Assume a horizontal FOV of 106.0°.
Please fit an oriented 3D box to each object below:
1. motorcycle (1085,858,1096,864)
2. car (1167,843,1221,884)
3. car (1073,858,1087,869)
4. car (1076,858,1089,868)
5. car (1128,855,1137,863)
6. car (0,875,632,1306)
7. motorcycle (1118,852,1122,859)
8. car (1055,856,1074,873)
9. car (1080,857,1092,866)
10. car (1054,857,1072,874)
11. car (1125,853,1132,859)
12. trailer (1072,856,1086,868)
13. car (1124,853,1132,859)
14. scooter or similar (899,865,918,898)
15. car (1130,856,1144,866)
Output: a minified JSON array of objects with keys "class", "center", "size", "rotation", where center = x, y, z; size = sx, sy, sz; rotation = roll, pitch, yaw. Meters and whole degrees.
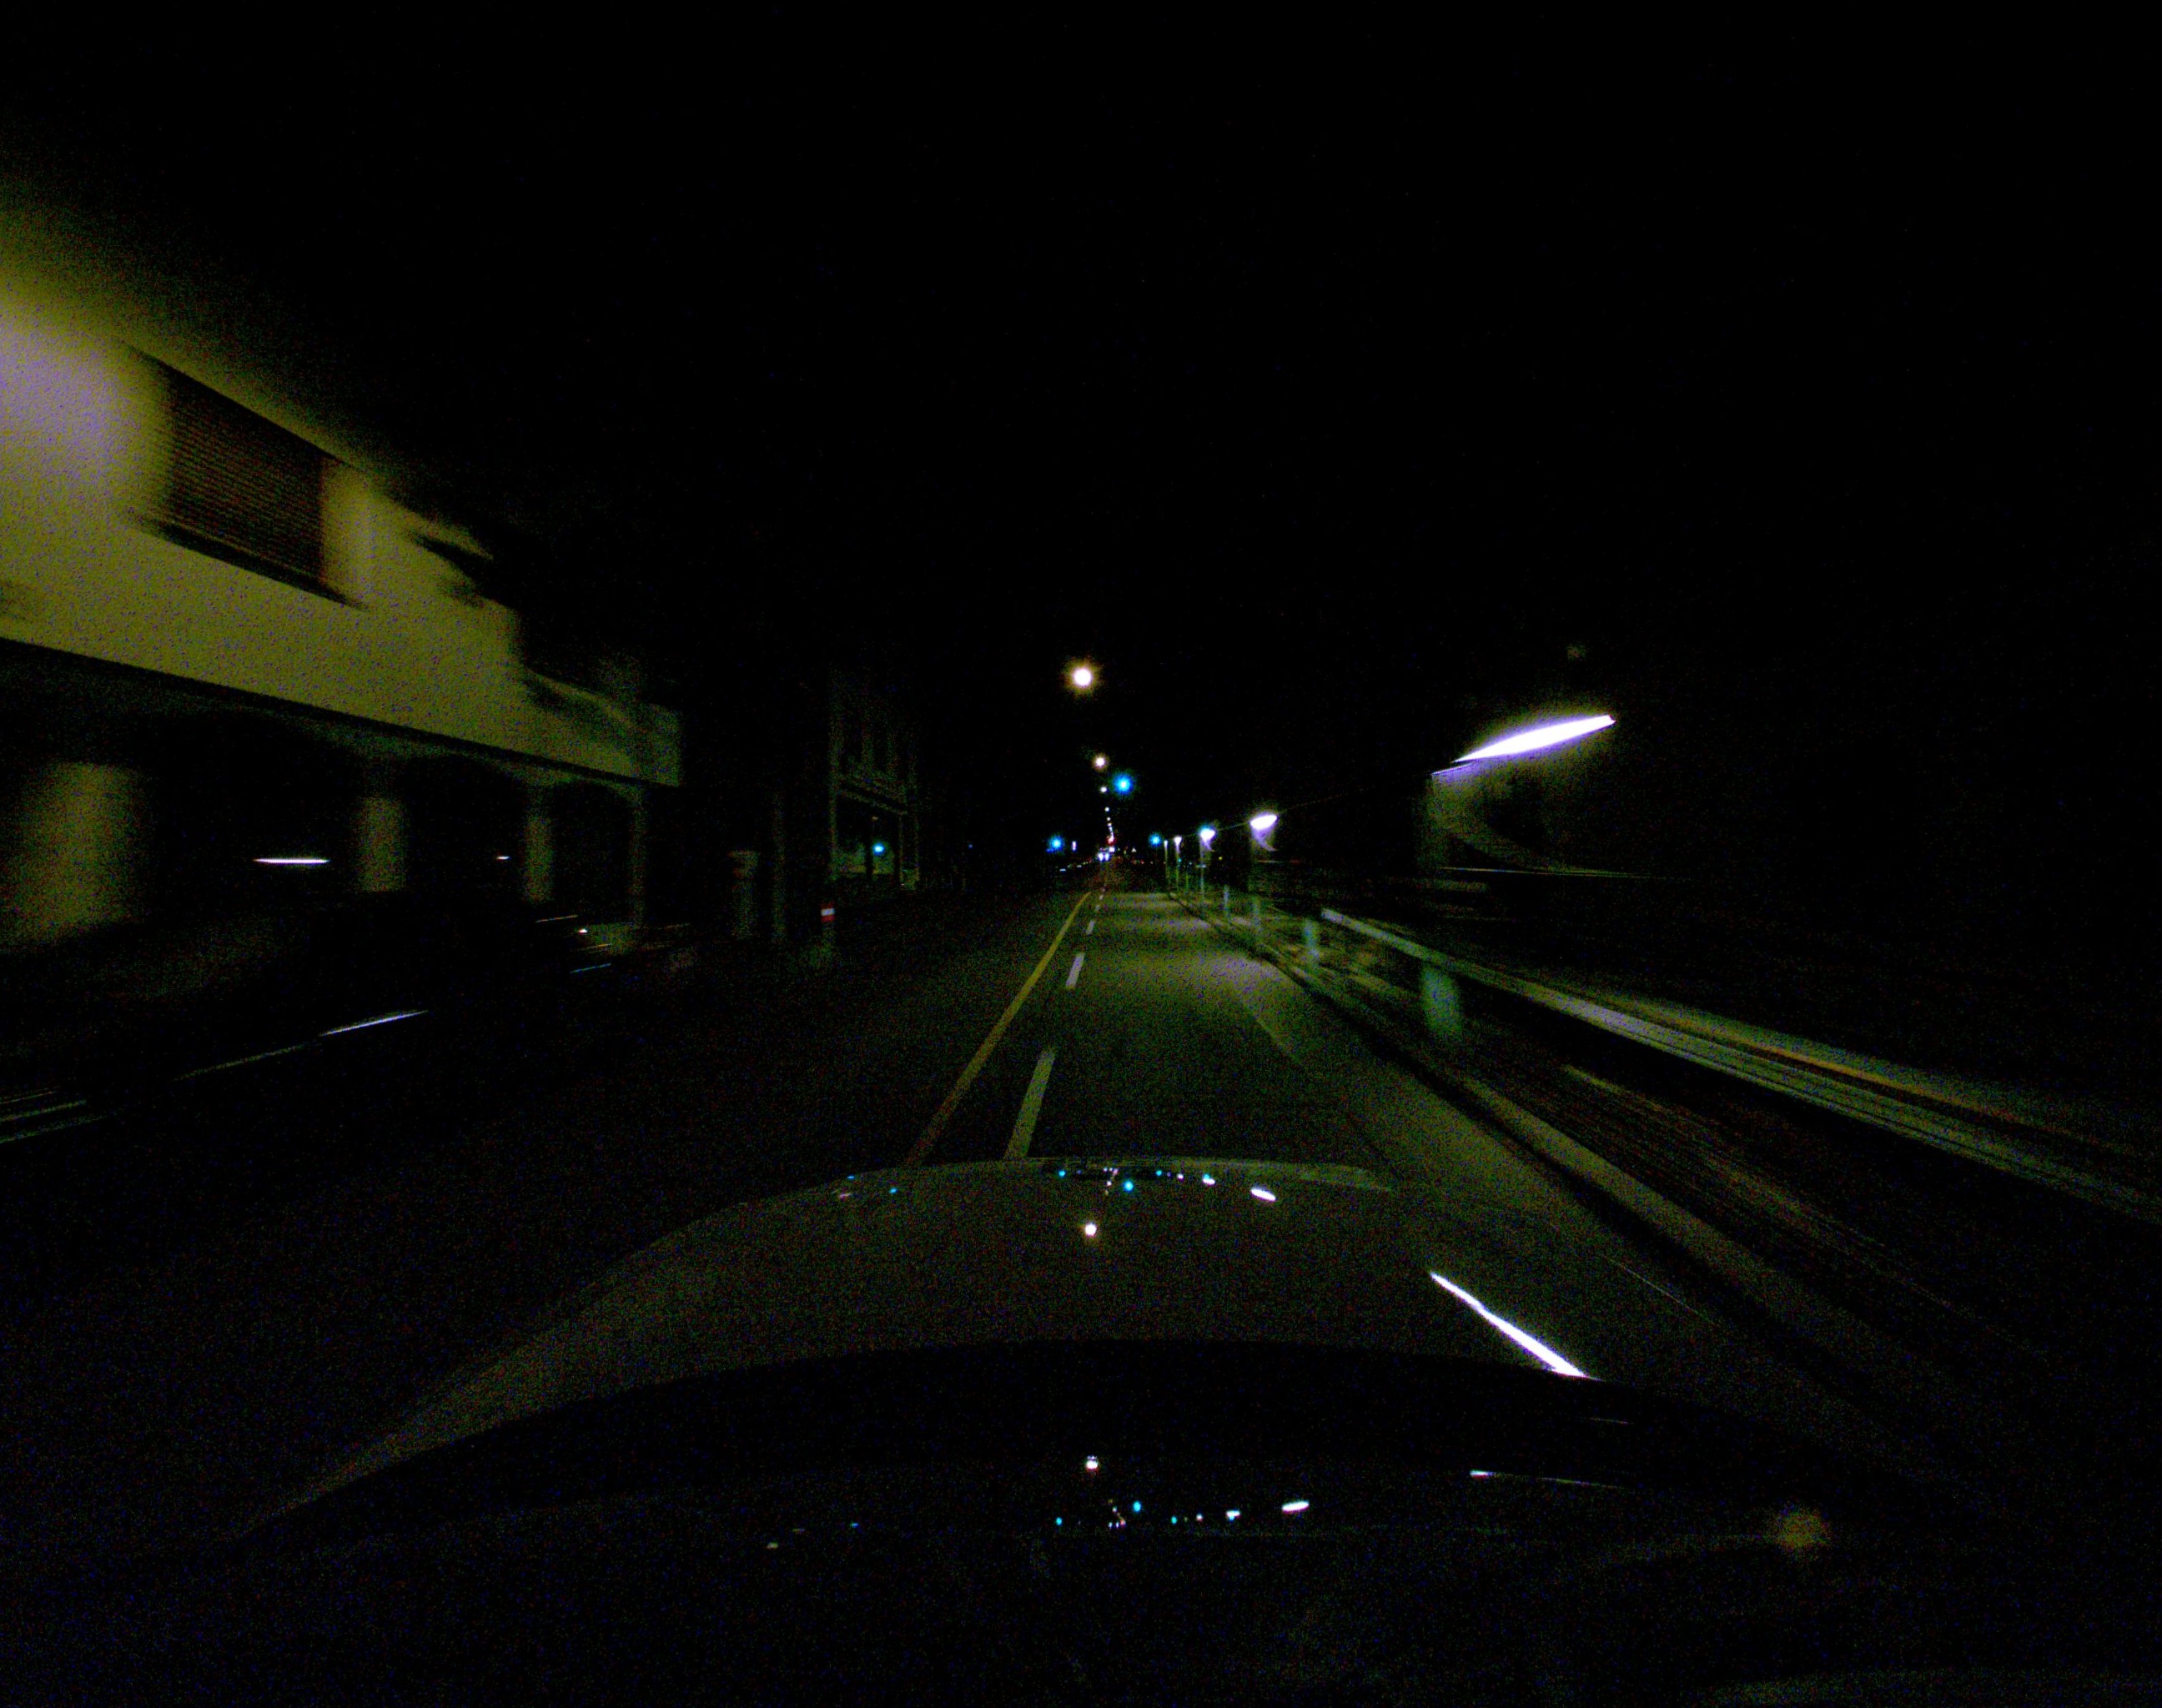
[{"class":"motorcycle","center":[1.783,1.380,154.906],"size":[0.719,1.147,2.183],"rotation":[-2,0,-40]},{"class":"car","center":[5.425,0.449,39.567],"size":[1.905,1.827,4.899],"rotation":[-2,0,0]},{"class":"car","center":[-0.091,1.283,114.060],"size":[1.808,1.484,4.348],"rotation":[-1,0,1]},{"class":"car","center":[0.274,1.342,124.631],"size":[1.828,1.446,4.546],"rotation":[-2,0,1]},{"class":"car","center":[10.524,0.948,165.653],"size":[1.756,1.476,4.083],"rotation":[-3,0,3]},{"class":"car","center":[-4.765,0.924,4.832],"size":[1.720,1.486,4.292],"rotation":[-1,0,1]},{"class":"motorcycle","center":[10.213,0.384,213.178],"size":[0.927,1.752,2.626],"rotation":[-1,-1,3]},{"class":"car","center":[-1.658,1.020,82.355],"size":[1.843,1.650,4.669],"rotation":[-1,0,-1]},{"class":"car","center":[0.894,1.310,138.341],"size":[1.857,1.492,4.281],"rotation":[-1,-1,1]},{"class":"car","center":[-1.668,1.096,76.277],"size":[1.643,1.514,3.700],"rotation":[-1,-1,-1]},{"class":"car","center":[13.191,0.512,227.811],"size":[1.861,1.526,4.152],"rotation":[-3,0,2]},{"class":"trailer","center":[-0.235,1.192,118.683],"size":[1.629,1.640,3.445],"rotation":[-1,-1,7]},{"class":"car","center":[12.360,0.562,214.587],"size":[1.805,1.594,4.276],"rotation":[-3,0,2]},{"class":"scooter or similar","center":[-6.520,1.032,30.821],"size":[0.330,1.225,1.337],"rotation":[-1,-1,4]},{"class":"car","center":[8.717,1.093,127.225],"size":[1.838,1.417,4.647],"rotation":[-4,-1,2]}]
